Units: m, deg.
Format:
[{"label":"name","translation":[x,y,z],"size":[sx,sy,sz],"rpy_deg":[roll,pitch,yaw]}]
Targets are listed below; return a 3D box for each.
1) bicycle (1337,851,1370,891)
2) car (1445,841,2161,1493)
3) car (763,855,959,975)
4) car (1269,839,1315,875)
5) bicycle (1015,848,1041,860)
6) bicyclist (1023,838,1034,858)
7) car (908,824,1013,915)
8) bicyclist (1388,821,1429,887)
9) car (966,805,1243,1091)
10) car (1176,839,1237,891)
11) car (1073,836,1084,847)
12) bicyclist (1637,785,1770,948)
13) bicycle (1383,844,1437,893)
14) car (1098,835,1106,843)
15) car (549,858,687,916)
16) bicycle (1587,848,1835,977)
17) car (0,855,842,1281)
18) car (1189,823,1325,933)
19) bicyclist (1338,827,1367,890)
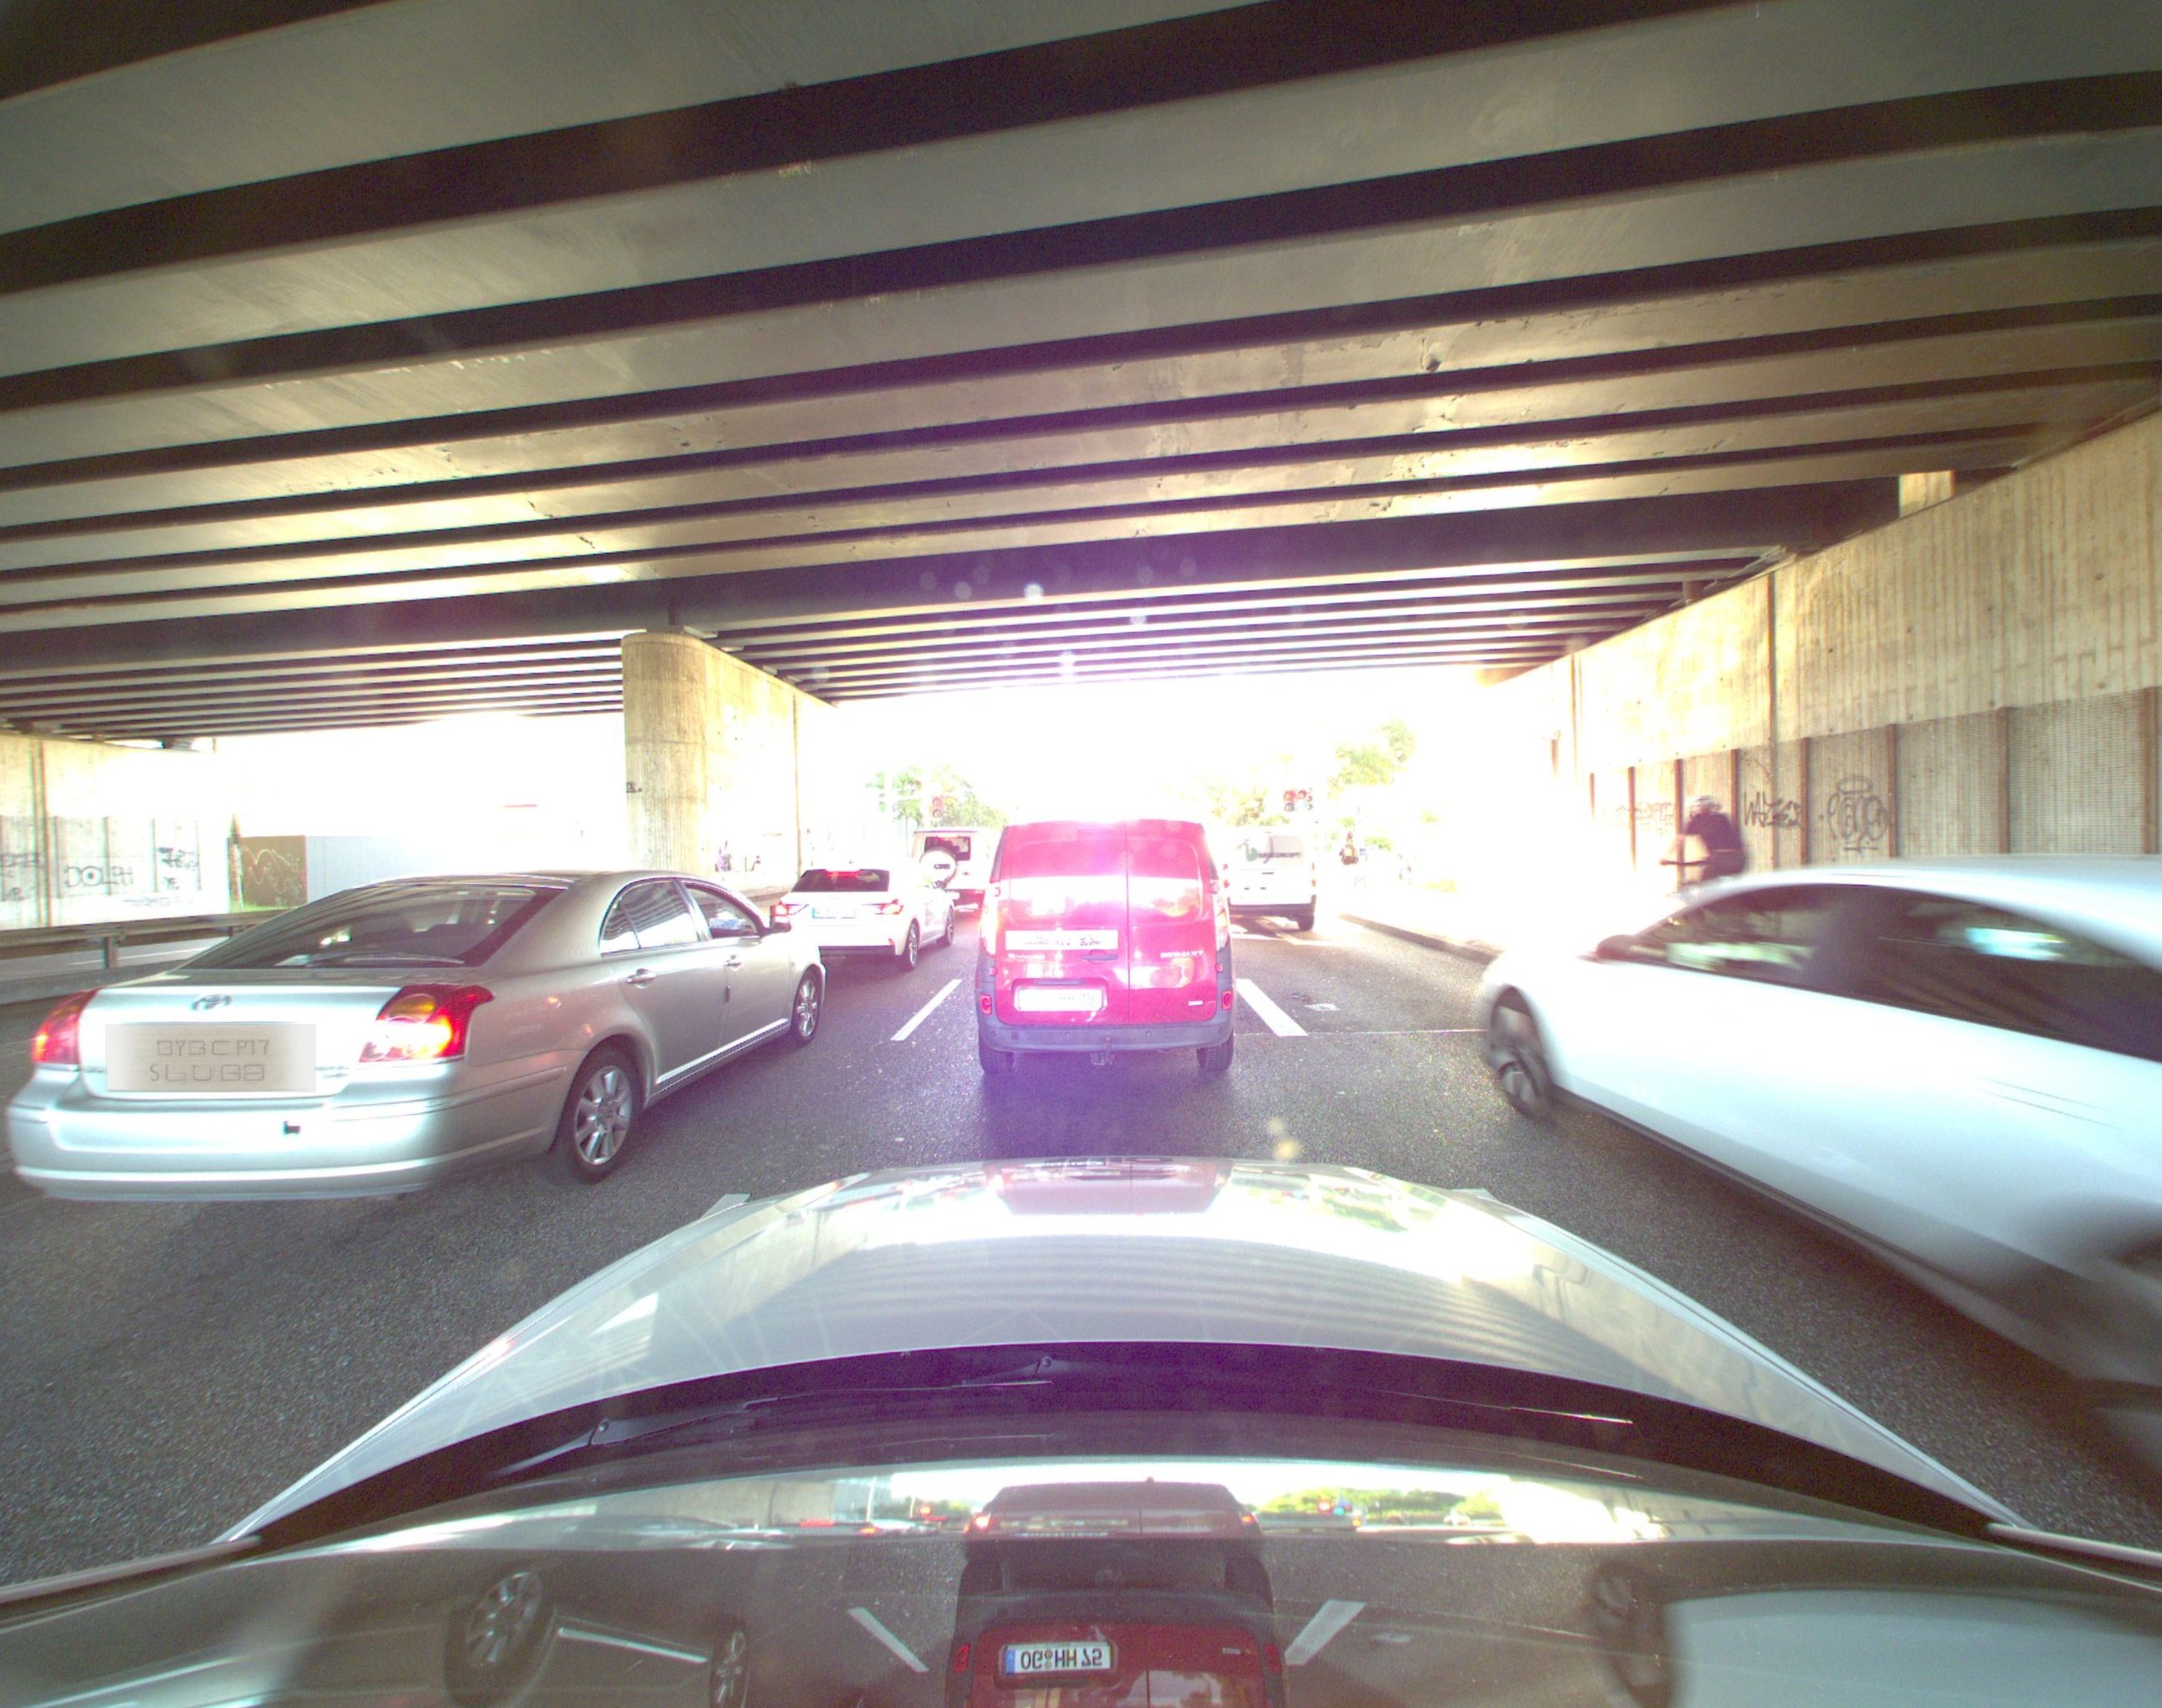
[{"label":"bicycle","translation":[7.211,0.438,21.583],"size":[0.672,1.024,1.534],"rpy_deg":[0,0,12]},{"label":"car","translation":[3.282,0.688,3.077],"size":[1.740,1.456,4.664],"rpy_deg":[0,0,0]},{"label":"car","translation":[-2.927,0.729,11.673],"size":[1.686,1.410,3.814],"rpy_deg":[0,0,1]},{"label":"car","translation":[9.257,0.099,35.787],"size":[1.824,1.464,3.903],"rpy_deg":[-1,0,14]},{"label":"bicycle","translation":[-4.194,0.006,64.500],"size":[1.945,0.874,0.700],"rpy_deg":[-1,0,2]},{"label":"bicyclist","translation":[-4.136,-0.472,64.504],"size":[0.752,1.542,0.697],"rpy_deg":[-1,0,2]},{"label":"car","translation":[-2.689,0.324,19.071],"size":[1.807,1.904,3.814],"rpy_deg":[0,0,1]},{"label":"bicyclist","translation":[7.990,0.008,19.882],"size":[0.667,1.561,0.735],"rpy_deg":[-2,-1,2]},{"label":"car","translation":[0.209,0.580,7.064],"size":[1.712,1.764,4.002],"rpy_deg":[0,0,2]},{"label":"car","translation":[4.262,0.331,28.118],"size":[1.770,1.655,3.995],"rpy_deg":[1,0,4]},{"label":"car","translation":[-0.510,-2.430,154.629],"size":[1.986,2.014,4.001],"rpy_deg":[0,0,2]},{"label":"bicyclist","translation":[6.643,0.127,8.739],"size":[0.744,1.655,0.886],"rpy_deg":[0,-1,1]},{"label":"bicycle","translation":[7.992,0.344,19.873],"size":[0.678,1.113,1.604],"rpy_deg":[-1,0,1]},{"label":"car","translation":[5.707,-4.022,220.797],"size":[1.986,2.014,4.001],"rpy_deg":[0,0,2]},{"label":"car","translation":[-14.702,0.987,26.191],"size":[1.845,1.616,4.364],"rpy_deg":[-3,0,0]},{"label":"bicycle","translation":[6.679,0.539,8.872],"size":[0.762,1.146,2.470],"rpy_deg":[-4,1,1]},{"label":"car","translation":[-3.017,0.748,5.032],"size":[1.690,1.455,4.399],"rpy_deg":[0,0,1]},{"label":"car","translation":[3.246,0.376,15.852],"size":[1.807,1.833,4.301],"rpy_deg":[0,1,1]},{"label":"bicyclist","translation":[7.225,0.119,21.681],"size":[0.673,1.629,0.646],"rpy_deg":[0,-1,12]}]
